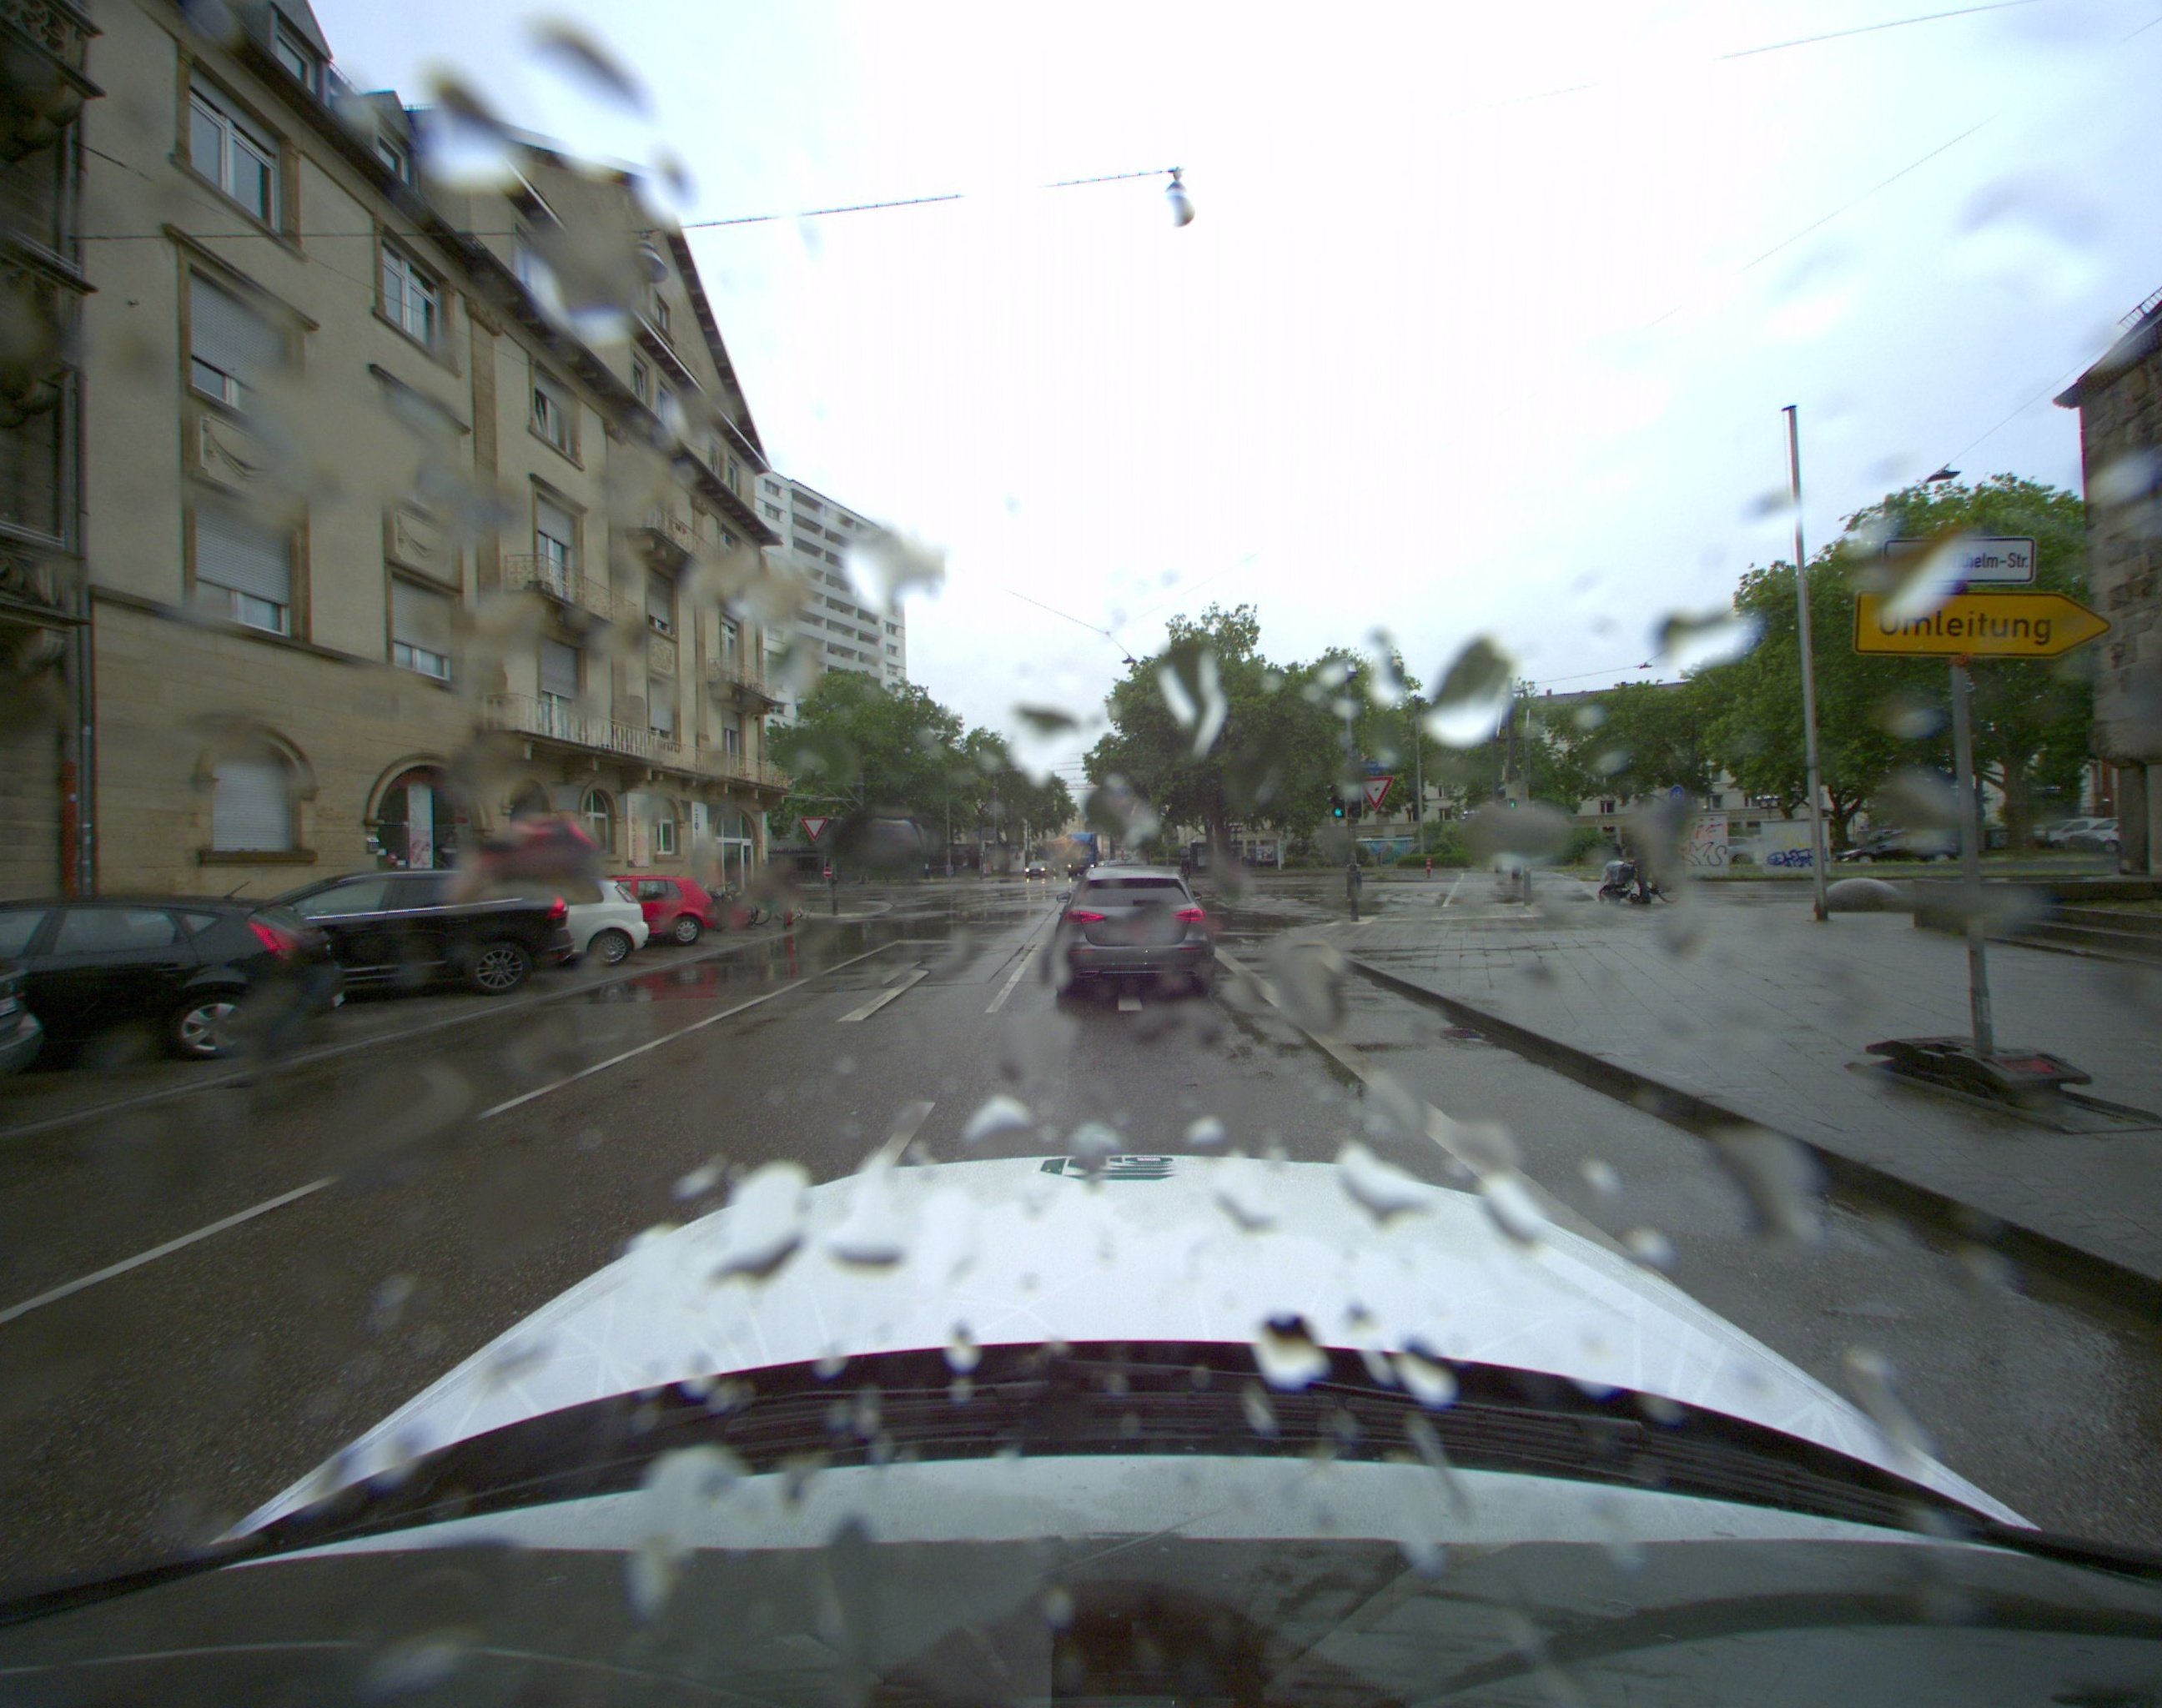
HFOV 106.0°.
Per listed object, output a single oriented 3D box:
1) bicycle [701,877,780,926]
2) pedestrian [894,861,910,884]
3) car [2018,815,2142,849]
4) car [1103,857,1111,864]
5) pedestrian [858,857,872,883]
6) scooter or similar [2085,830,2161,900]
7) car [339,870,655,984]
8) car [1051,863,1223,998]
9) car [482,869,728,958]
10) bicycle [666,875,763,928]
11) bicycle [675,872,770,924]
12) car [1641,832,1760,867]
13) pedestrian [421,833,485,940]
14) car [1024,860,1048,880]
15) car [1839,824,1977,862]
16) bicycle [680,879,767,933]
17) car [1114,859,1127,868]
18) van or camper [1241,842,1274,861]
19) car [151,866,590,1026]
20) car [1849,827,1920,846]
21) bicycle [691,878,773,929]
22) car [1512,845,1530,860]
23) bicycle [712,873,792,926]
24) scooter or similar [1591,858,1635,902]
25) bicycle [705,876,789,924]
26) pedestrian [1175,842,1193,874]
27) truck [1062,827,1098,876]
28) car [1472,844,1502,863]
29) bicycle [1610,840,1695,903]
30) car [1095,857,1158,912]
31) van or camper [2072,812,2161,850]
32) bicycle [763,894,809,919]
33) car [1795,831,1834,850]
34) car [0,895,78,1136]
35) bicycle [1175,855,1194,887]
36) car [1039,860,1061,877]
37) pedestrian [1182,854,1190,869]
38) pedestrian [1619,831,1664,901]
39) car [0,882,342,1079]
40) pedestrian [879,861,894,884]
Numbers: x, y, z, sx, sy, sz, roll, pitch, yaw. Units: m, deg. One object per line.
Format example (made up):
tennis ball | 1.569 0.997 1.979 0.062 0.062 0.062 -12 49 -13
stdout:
bicycle | -8.782 1.224 21.047 1.804 1.185 0.468 2 -1 -1
pedestrian | -13.449 1.386 61.182 0.828 1.648 0.759 -3 -1 17
car | 58.377 -1.268 47.684 4.210 1.778 1.748 -2 -1 22
car | 7.012 1.652 216.805 1.880 1.836 4.006 -2 -1 6
pedestrian | -15.775 1.172 59.426 0.683 1.838 0.632 -2 -1 -40
scooter or similar | 21.395 0.224 16.624 1.090 1.387 0.288 -2 0 24
car | -9.398 1.069 13.398 4.013 1.533 1.685 0 0 -38
car | 0.638 0.823 10.259 1.784 1.372 3.508 -1 0 2
car | -9.477 1.084 16.363 4.021 1.508 1.782 0 -1 -40
bicycle | -10.160 1.315 22.627 2.335 1.346 0.639 -2 0 -4
bicycle | -10.216 1.250 23.280 2.335 1.346 0.639 -3 0 -4
car | 31.431 -0.238 41.469 4.499 1.599 1.802 -2 0 24
pedestrian | -14.096 0.715 18.294 0.838 2.340 0.768 -2 -1 24
car | -3.825 1.347 69.867 1.737 1.546 3.779 -3 -1 1
car | 38.644 -0.484 38.184 4.127 1.599 1.789 -2 0 24
bicycle | -8.508 1.227 19.413 1.800 1.184 0.601 2 0 7
car | 6.836 1.645 140.990 1.987 1.574 4.000 -2 -1 1
van or camper | 21.392 -0.312 98.580 2.373 2.231 5.463 -3 -1 29
car | -9.024 1.027 10.819 4.104 1.692 1.744 0 0 -38
car | 68.550 -1.477 69.570 3.949 1.452 1.687 -3 -1 27
bicycle | -8.786 1.239 20.541 1.804 1.185 0.475 2 -1 0
car | 46.888 -0.155 86.762 1.535 1.467 3.386 -2 -3 26
bicycle | -8.921 1.232 22.081 1.967 1.330 0.438 -2 0 3
scooter or similar | 13.236 0.639 20.277 0.511 1.048 0.925 -2 0 4
bicycle | -8.845 1.215 21.589 1.974 1.185 0.474 1 -1 -2
pedestrian | 4.744 0.196 37.405 0.740 1.398 1.049 -3 -1 8
truck | 0.038 -0.192 74.729 2.835 4.025 10.318 -3 -1 1
car | 35.083 -0.064 70.405 1.650 1.521 3.695 -2 -1 17
bicycle | 14.144 0.413 20.227 0.531 1.466 1.935 -2 0 -8
car | 1.264 0.824 23.385 1.601 1.372 4.002 -3 0 2
van or camper | 56.056 -1.242 42.794 4.615 1.915 2.011 -2 0 21
bicycle | -8.589 1.505 23.706 1.045 0.663 1.464 1 -2 -29
car | 68.761 -1.237 76.416 1.694 1.618 4.024 -1 -1 27
car | -8.849 1.099 4.763 3.446 1.544 1.682 0 0 -38
bicycle | 4.757 0.753 37.303 0.745 1.377 2.714 -3 -1 9
car | -2.959 1.349 78.613 1.720 1.546 4.341 -3 -1 1
pedestrian | 11.893 0.800 92.243 0.665 1.669 0.713 -1 -1 -22
pedestrian | 13.761 0.291 20.009 0.600 1.663 0.690 -2 0 5
car | -9.157 1.078 7.498 3.326 1.525 1.682 0 0 -37
pedestrian | -14.807 1.416 61.988 0.785 1.648 0.820 -3 -1 17
